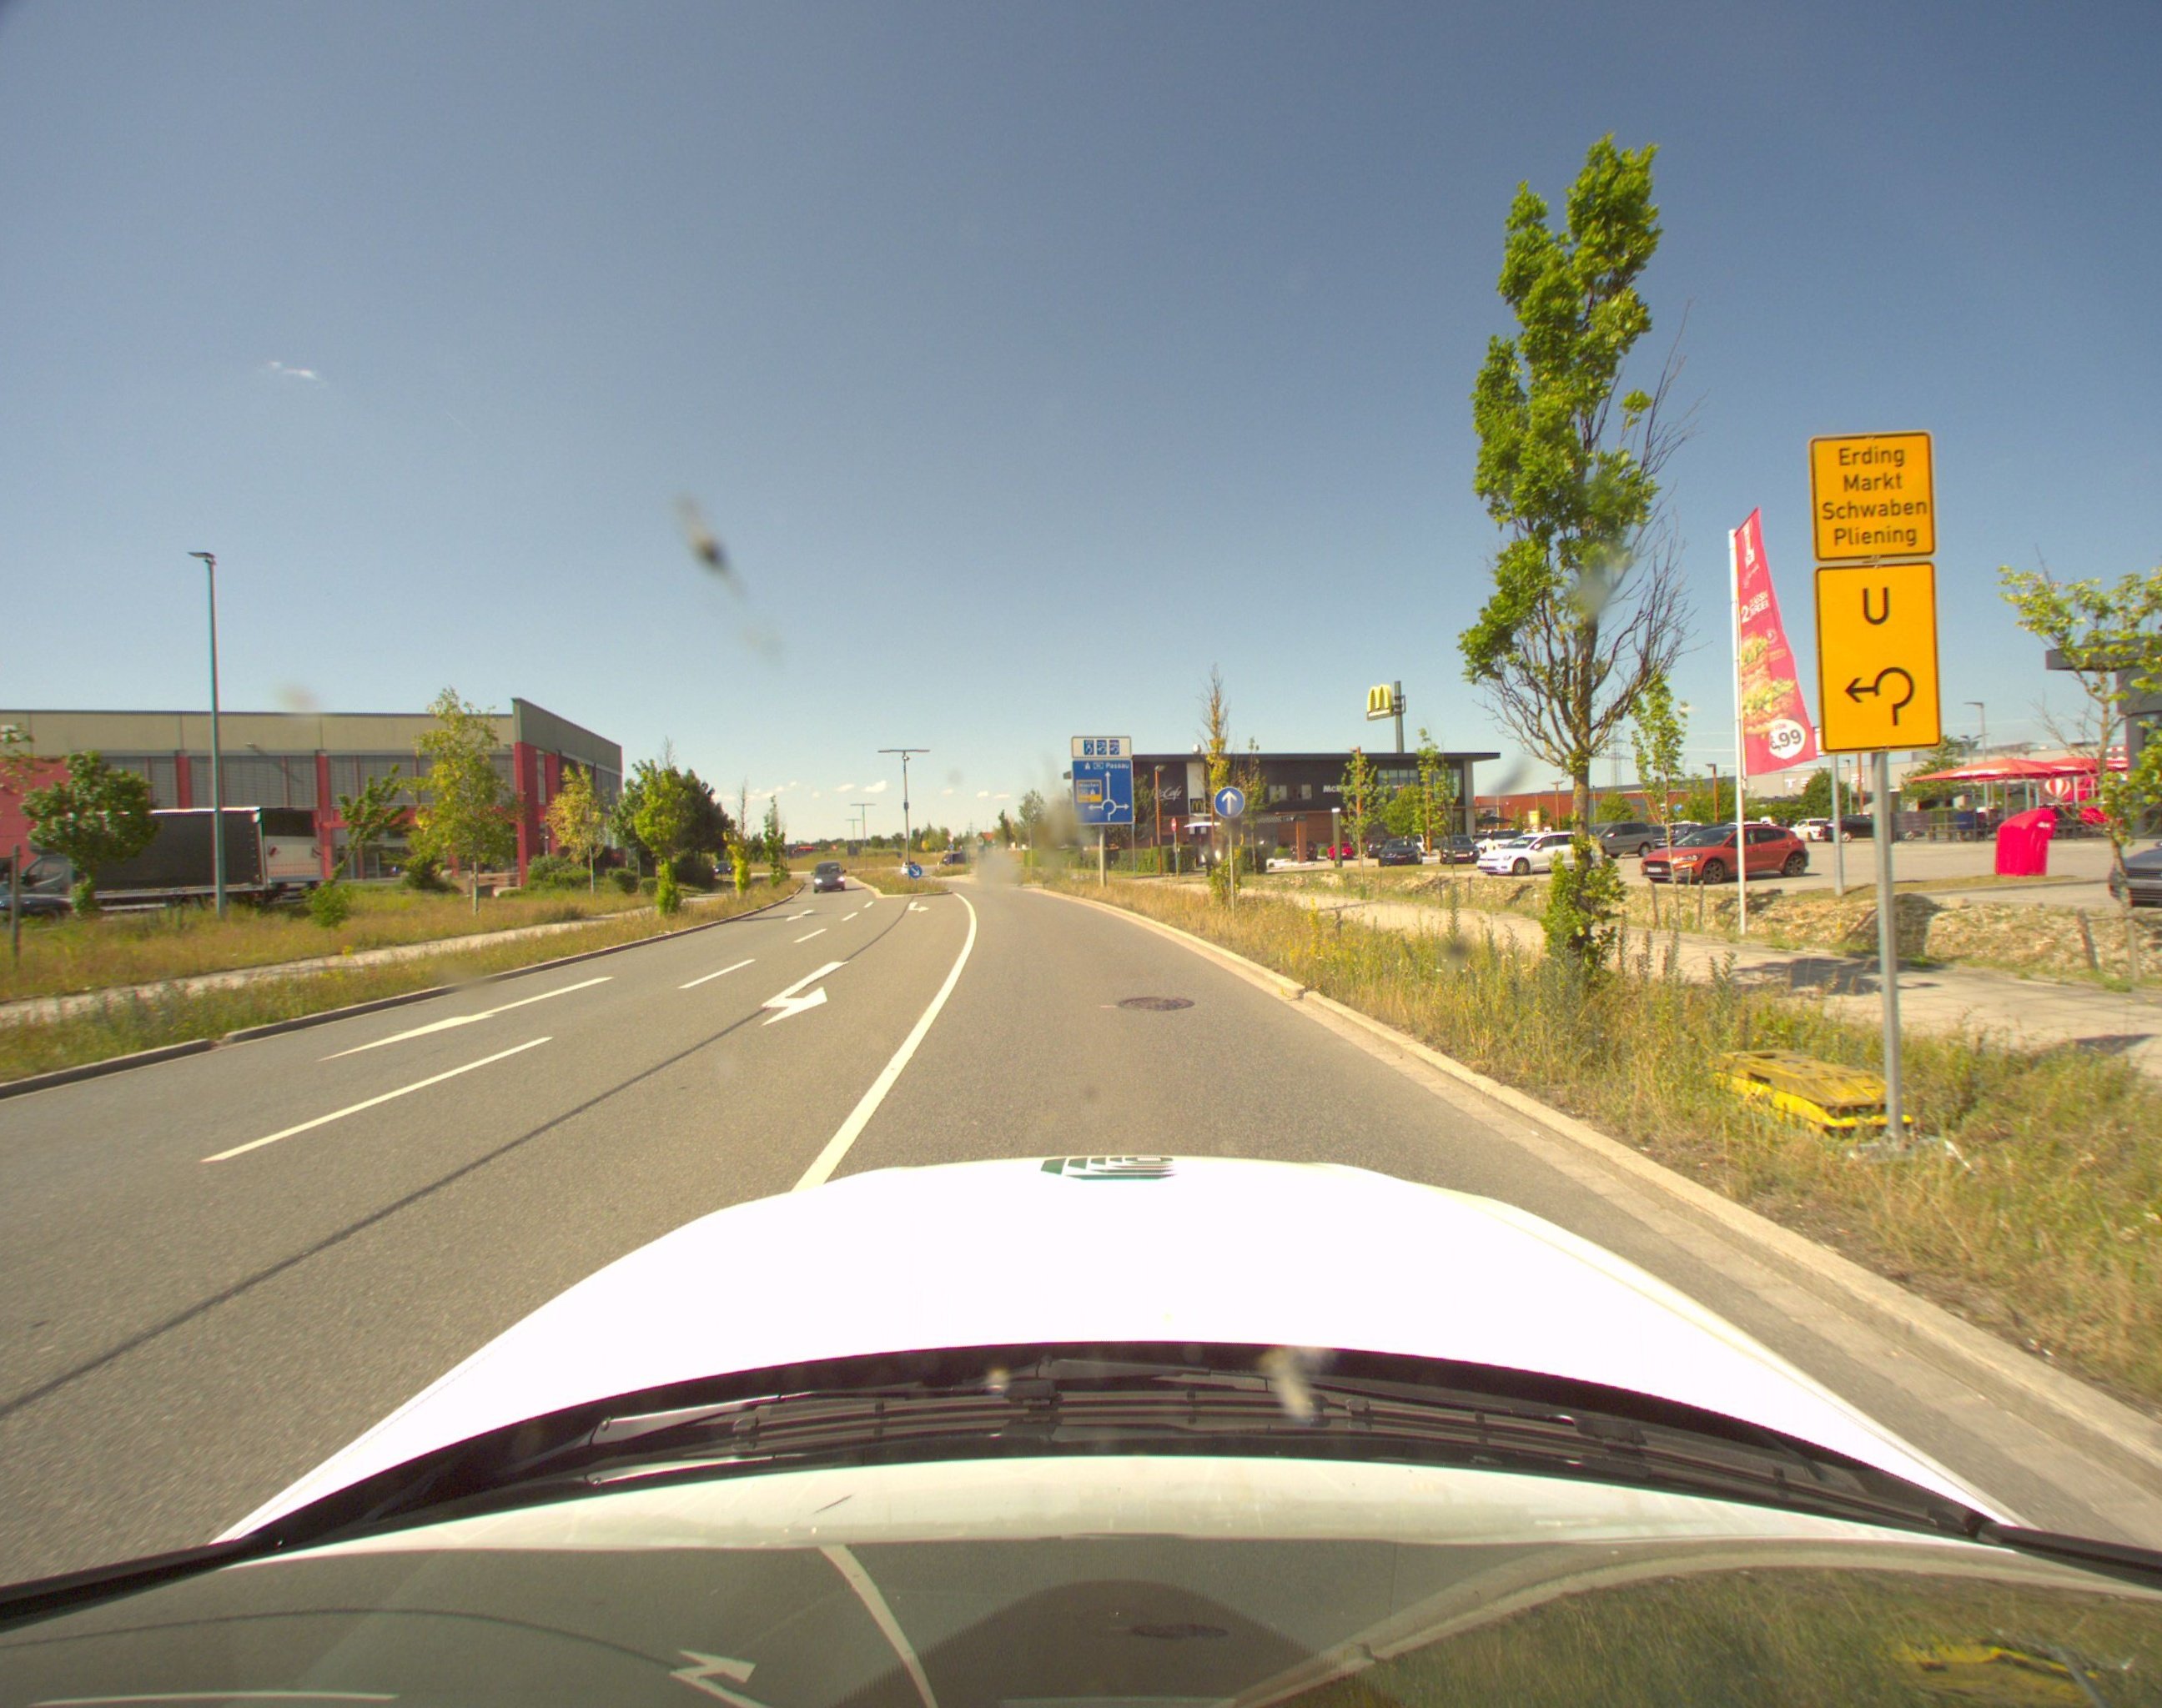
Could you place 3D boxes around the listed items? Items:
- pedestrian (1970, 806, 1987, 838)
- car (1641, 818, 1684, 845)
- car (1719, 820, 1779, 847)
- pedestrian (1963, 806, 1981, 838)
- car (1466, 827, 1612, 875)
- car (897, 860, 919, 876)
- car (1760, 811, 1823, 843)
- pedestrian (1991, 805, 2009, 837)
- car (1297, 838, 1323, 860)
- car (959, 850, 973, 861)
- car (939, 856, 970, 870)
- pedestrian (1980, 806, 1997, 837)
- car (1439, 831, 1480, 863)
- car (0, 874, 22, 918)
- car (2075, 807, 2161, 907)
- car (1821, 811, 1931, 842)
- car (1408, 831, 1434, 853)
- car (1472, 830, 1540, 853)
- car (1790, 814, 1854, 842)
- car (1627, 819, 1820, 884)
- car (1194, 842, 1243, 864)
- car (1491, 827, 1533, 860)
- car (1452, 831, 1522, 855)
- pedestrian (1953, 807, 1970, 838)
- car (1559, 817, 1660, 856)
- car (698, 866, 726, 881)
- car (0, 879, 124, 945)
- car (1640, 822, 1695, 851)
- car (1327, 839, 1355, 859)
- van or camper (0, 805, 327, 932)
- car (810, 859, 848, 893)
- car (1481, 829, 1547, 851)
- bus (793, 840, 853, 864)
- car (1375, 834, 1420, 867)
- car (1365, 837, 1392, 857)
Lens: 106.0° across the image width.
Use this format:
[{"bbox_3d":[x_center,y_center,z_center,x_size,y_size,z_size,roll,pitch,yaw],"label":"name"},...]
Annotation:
[{"bbox_3d":[36.080,-1.290,32.731,0.380,1.240,0.291,-3,0,-19],"label":"pedestrian"},{"bbox_3d":[41.382,-1.602,58.057,1.769,1.757,4.194,-3,0,26],"label":"car"},{"bbox_3d":[39.341,-1.225,48.043,1.769,1.451,4.194,-3,0,26],"label":"car"},{"bbox_3d":[35.381,-1.266,32.341,0.380,1.240,0.291,-3,0,-19],"label":"pedestrian"},{"bbox_3d":[16.853,-0.123,30.030,4.526,1.490,1.862,-3,1,-10],"label":"car"},{"bbox_3d":[-16.207,1.317,76.307,1.620,1.434,3.770,-2,0,-17],"label":"car"},{"bbox_3d":[42.143,-1.584,48.407,1.769,1.757,4.194,-3,0,26],"label":"car"},{"bbox_3d":[36.274,-1.295,32.150,0.380,1.240,0.291,-3,0,-19],"label":"pedestrian"},{"bbox_3d":[18.094,-0.428,64.383,1.780,1.604,4.015,-3,0,14],"label":"car"},{"bbox_3d":[-15.723,0.187,111.456,1.613,1.434,3.787,-2,0,-4],"label":"car"},{"bbox_3d":[-14.858,1.026,96.021,1.751,1.517,3.821,-2,0,24],"label":"car"},{"bbox_3d":[36.171,-1.293,32.449,0.380,1.240,0.291,-3,0,-19],"label":"pedestrian"},{"bbox_3d":[19.401,-0.380,41.644,1.769,1.462,4.194,-3,0,26],"label":"car"},{"bbox_3d":[-41.477,1.621,29.559,1.666,1.671,4.058,-2,0,-19],"label":"car"},{"bbox_3d":[18.705,-0.062,12.710,4.550,1.490,1.865,-3,1,-7],"label":"car"},{"bbox_3d":[45.113,-1.561,46.348,4.115,1.522,1.803,-3,0,30],"label":"car"},{"bbox_3d":[27.994,-1.002,67.027,1.776,1.702,4.023,-3,0,24],"label":"car"},{"bbox_3d":[28.840,-0.827,55.252,3.949,1.373,1.810,-3,0,29],"label":"car"},{"bbox_3d":[45.807,-1.594,50.441,1.769,1.522,4.194,-3,0,26],"label":"car"},{"bbox_3d":[17.755,-0.087,22.579,4.205,1.490,1.862,-3,1,-10],"label":"car"},{"bbox_3d":[9.754,-0.055,58.109,1.797,1.434,3.977,-3,0,-17],"label":"car"},{"bbox_3d":[22.645,-0.574,42.867,1.769,1.579,4.194,-3,0,26],"label":"car"},{"bbox_3d":[26.470,-0.730,53.070,3.949,1.373,1.810,-3,0,29],"label":"car"},{"bbox_3d":[35.274,-1.263,32.625,0.380,1.240,0.291,-3,0,-19],"label":"pedestrian"},{"bbox_3d":[25.050,-0.803,38.617,4.167,1.635,1.780,-3,0,-18],"label":"car"},{"bbox_3d":[-42.860,2.282,94.549,1.773,1.543,4.191,-5,1,-39],"label":"car"},{"bbox_3d":[-28.161,1.530,20.915,4.371,1.552,1.830,-2,0,-13],"label":"car"},{"bbox_3d":[32.746,-0.997,45.550,1.769,1.451,4.194,-3,0,26],"label":"car"},{"bbox_3d":[20.726,-0.430,65.030,1.780,1.434,4.015,-3,0,14],"label":"car"},{"bbox_3d":[-28.682,0.406,25.048,7.697,3.468,2.545,-2,0,-12],"label":"van or camper"},{"bbox_3d":[-15.138,1.271,48.839,1.957,1.794,4.399,-4,1,-18],"label":"car"},{"bbox_3d":[31.507,-1.027,59.321,4.127,1.373,1.810,-3,0,29],"label":"car"},{"bbox_3d":[-39.820,-0.364,126.203,2.767,3.078,12.249,-3,2,13],"label":"bus"},{"bbox_3d":[15.846,-0.201,40.634,1.681,1.462,4.194,-3,0,26],"label":"car"},{"bbox_3d":[24.134,-0.588,66.030,1.777,1.513,4.023,-3,0,23],"label":"car"}]
